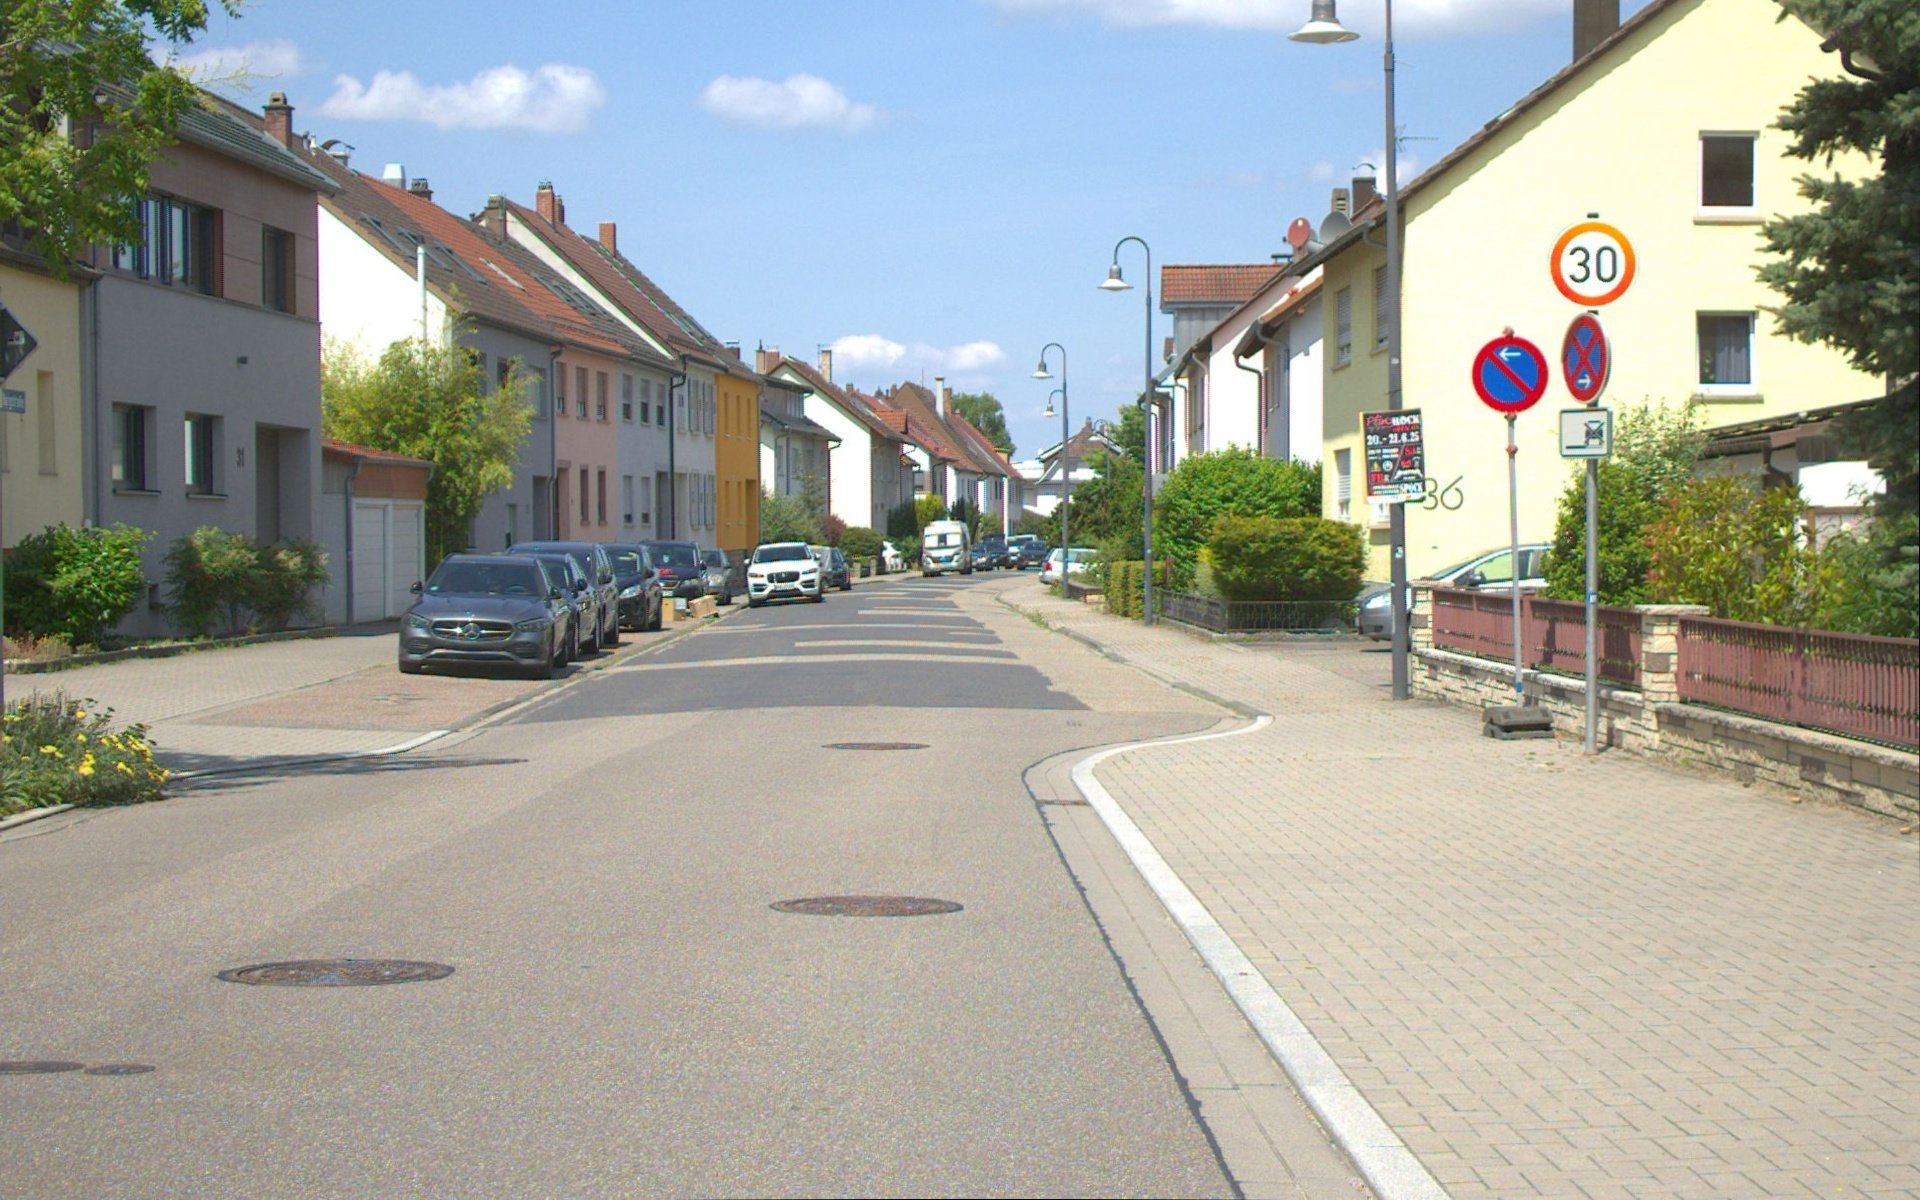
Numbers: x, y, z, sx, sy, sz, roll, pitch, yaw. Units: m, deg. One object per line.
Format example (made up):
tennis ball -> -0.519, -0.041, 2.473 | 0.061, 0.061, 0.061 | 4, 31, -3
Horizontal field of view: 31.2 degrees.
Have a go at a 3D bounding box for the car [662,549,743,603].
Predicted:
car -> -6.771, -0.643, 90.691 | 1.672, 1.331, 3.722 | 2, 1, 2

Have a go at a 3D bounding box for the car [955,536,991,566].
car -> 0.723, -2.610, 183.550 | 1.692, 1.498, 3.771 | 1, 0, 3

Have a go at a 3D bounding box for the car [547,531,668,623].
car -> -6.505, -0.446, 63.734 | 1.779, 1.603, 4.000 | 2, 1, 0

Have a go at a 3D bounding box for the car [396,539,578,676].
car -> -5.825, 0.054, 42.754 | 1.816, 1.428, 4.140 | 3, 2, -3

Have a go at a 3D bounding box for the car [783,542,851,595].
car -> -4.667, -1.042, 112.681 | 1.850, 1.653, 4.000 | 2, 1, 2

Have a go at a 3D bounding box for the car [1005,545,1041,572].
car -> 3.281, -2.180, 179.108 | 1.692, 1.337, 3.771 | 1, 0, 3

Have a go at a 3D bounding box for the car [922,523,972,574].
car -> -0.589, -2.388, 161.410 | 2.045, 2.304, 3.771 | 1, 0, 3

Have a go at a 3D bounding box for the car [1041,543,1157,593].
car -> 4.330, -1.001, 107.481 | 3.523, 1.459, 1.628 | 1, 0, 0

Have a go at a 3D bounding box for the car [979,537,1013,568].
car -> 2.000, -2.628, 191.020 | 1.692, 1.654, 3.771 | 1, 0, 3

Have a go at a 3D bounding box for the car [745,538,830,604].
car -> -4.571, -0.787, 91.664 | 1.850, 1.653, 4.000 | 2, 1, 2

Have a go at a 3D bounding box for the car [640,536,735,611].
car -> -6.197, -0.618, 78.516 | 1.810, 1.603, 4.000 | 2, 1, 0

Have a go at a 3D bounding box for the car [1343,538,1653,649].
car -> 7.362, -0.104, 47.305 | 3.987, 1.468, 1.746 | -1, 1, 0
